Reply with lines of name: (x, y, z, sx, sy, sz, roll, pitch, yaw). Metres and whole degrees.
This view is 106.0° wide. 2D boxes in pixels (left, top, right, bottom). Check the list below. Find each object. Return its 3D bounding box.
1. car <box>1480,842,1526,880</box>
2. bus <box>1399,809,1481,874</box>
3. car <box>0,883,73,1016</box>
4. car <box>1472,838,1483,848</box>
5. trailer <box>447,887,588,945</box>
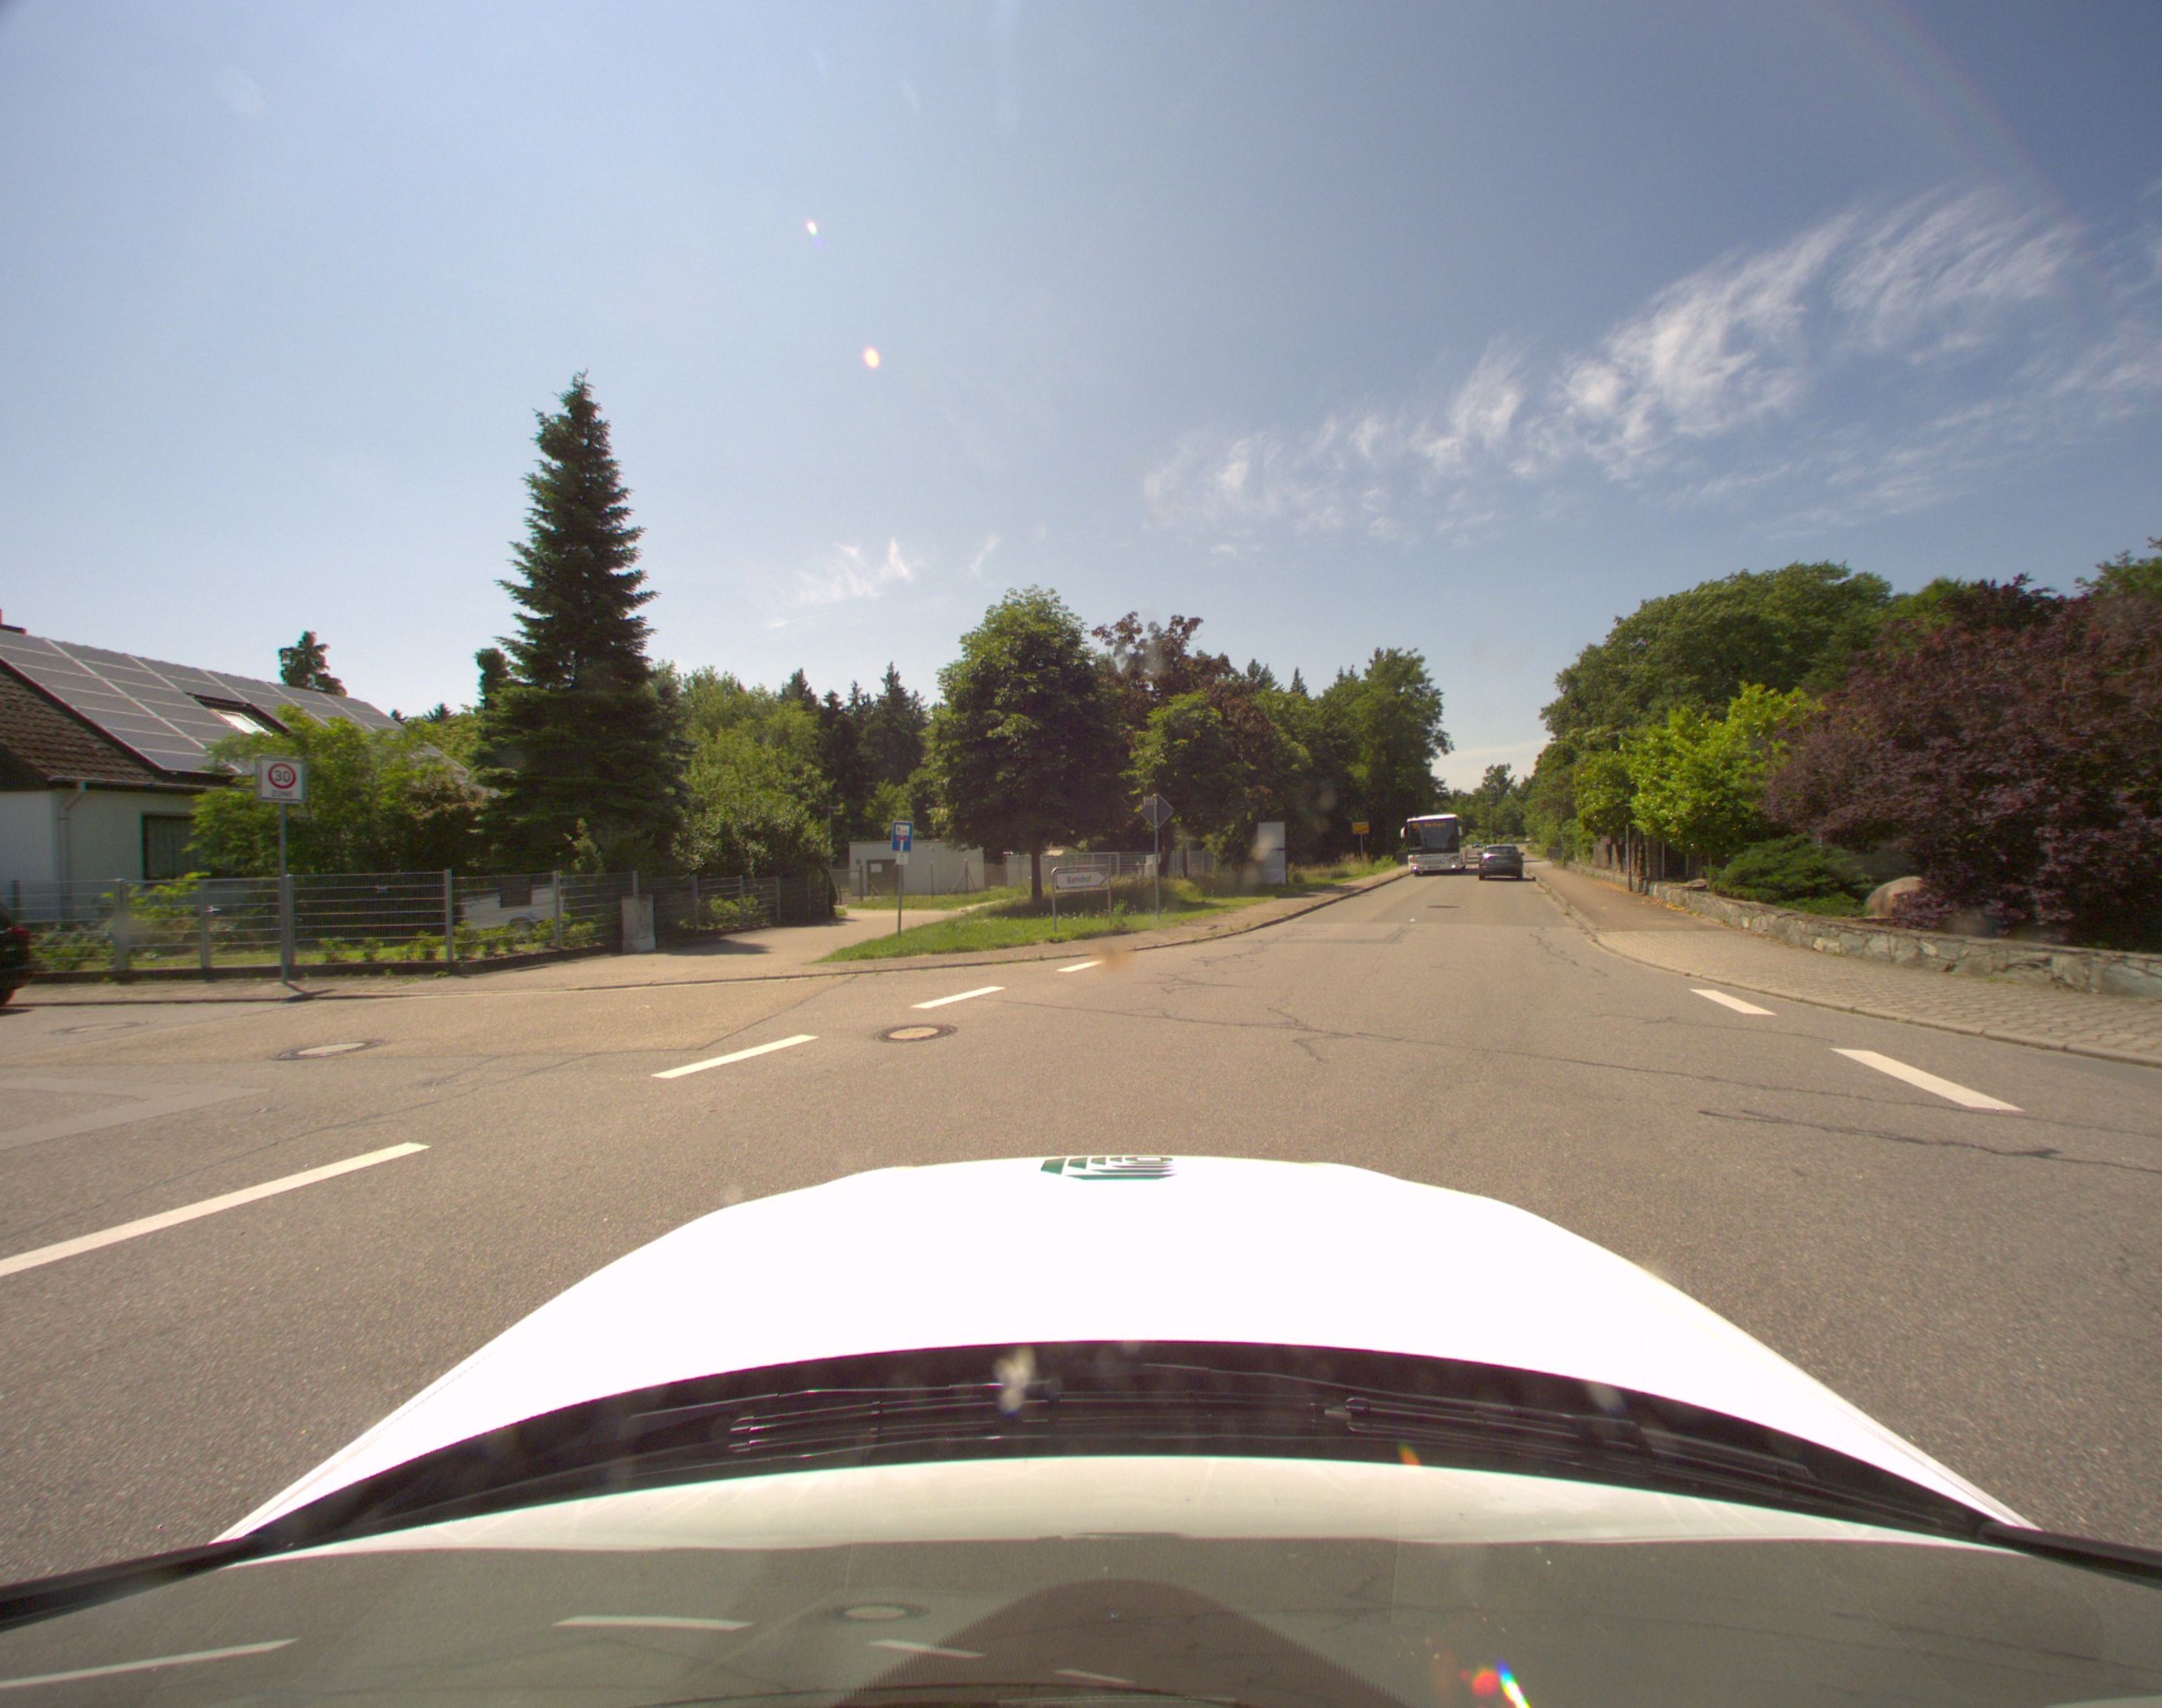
car: (19.066, 0.300, 36.765, 1.746, 1.618, 4.024, 0, 0, 28)
bus: (21.197, -0.706, 47.518, 3.151, 3.244, 12.790, -2, 0, 29)
car: (-16.139, 1.297, 10.188, 4.649, 1.662, 1.970, -1, 0, 2)
car: (82.754, -2.272, 170.100, 1.933, 1.860, 4.022, -2, 0, 23)
trailer: (-12.134, 1.317, 17.630, 2.212, 1.084, 1.104, -1, 0, -7)
